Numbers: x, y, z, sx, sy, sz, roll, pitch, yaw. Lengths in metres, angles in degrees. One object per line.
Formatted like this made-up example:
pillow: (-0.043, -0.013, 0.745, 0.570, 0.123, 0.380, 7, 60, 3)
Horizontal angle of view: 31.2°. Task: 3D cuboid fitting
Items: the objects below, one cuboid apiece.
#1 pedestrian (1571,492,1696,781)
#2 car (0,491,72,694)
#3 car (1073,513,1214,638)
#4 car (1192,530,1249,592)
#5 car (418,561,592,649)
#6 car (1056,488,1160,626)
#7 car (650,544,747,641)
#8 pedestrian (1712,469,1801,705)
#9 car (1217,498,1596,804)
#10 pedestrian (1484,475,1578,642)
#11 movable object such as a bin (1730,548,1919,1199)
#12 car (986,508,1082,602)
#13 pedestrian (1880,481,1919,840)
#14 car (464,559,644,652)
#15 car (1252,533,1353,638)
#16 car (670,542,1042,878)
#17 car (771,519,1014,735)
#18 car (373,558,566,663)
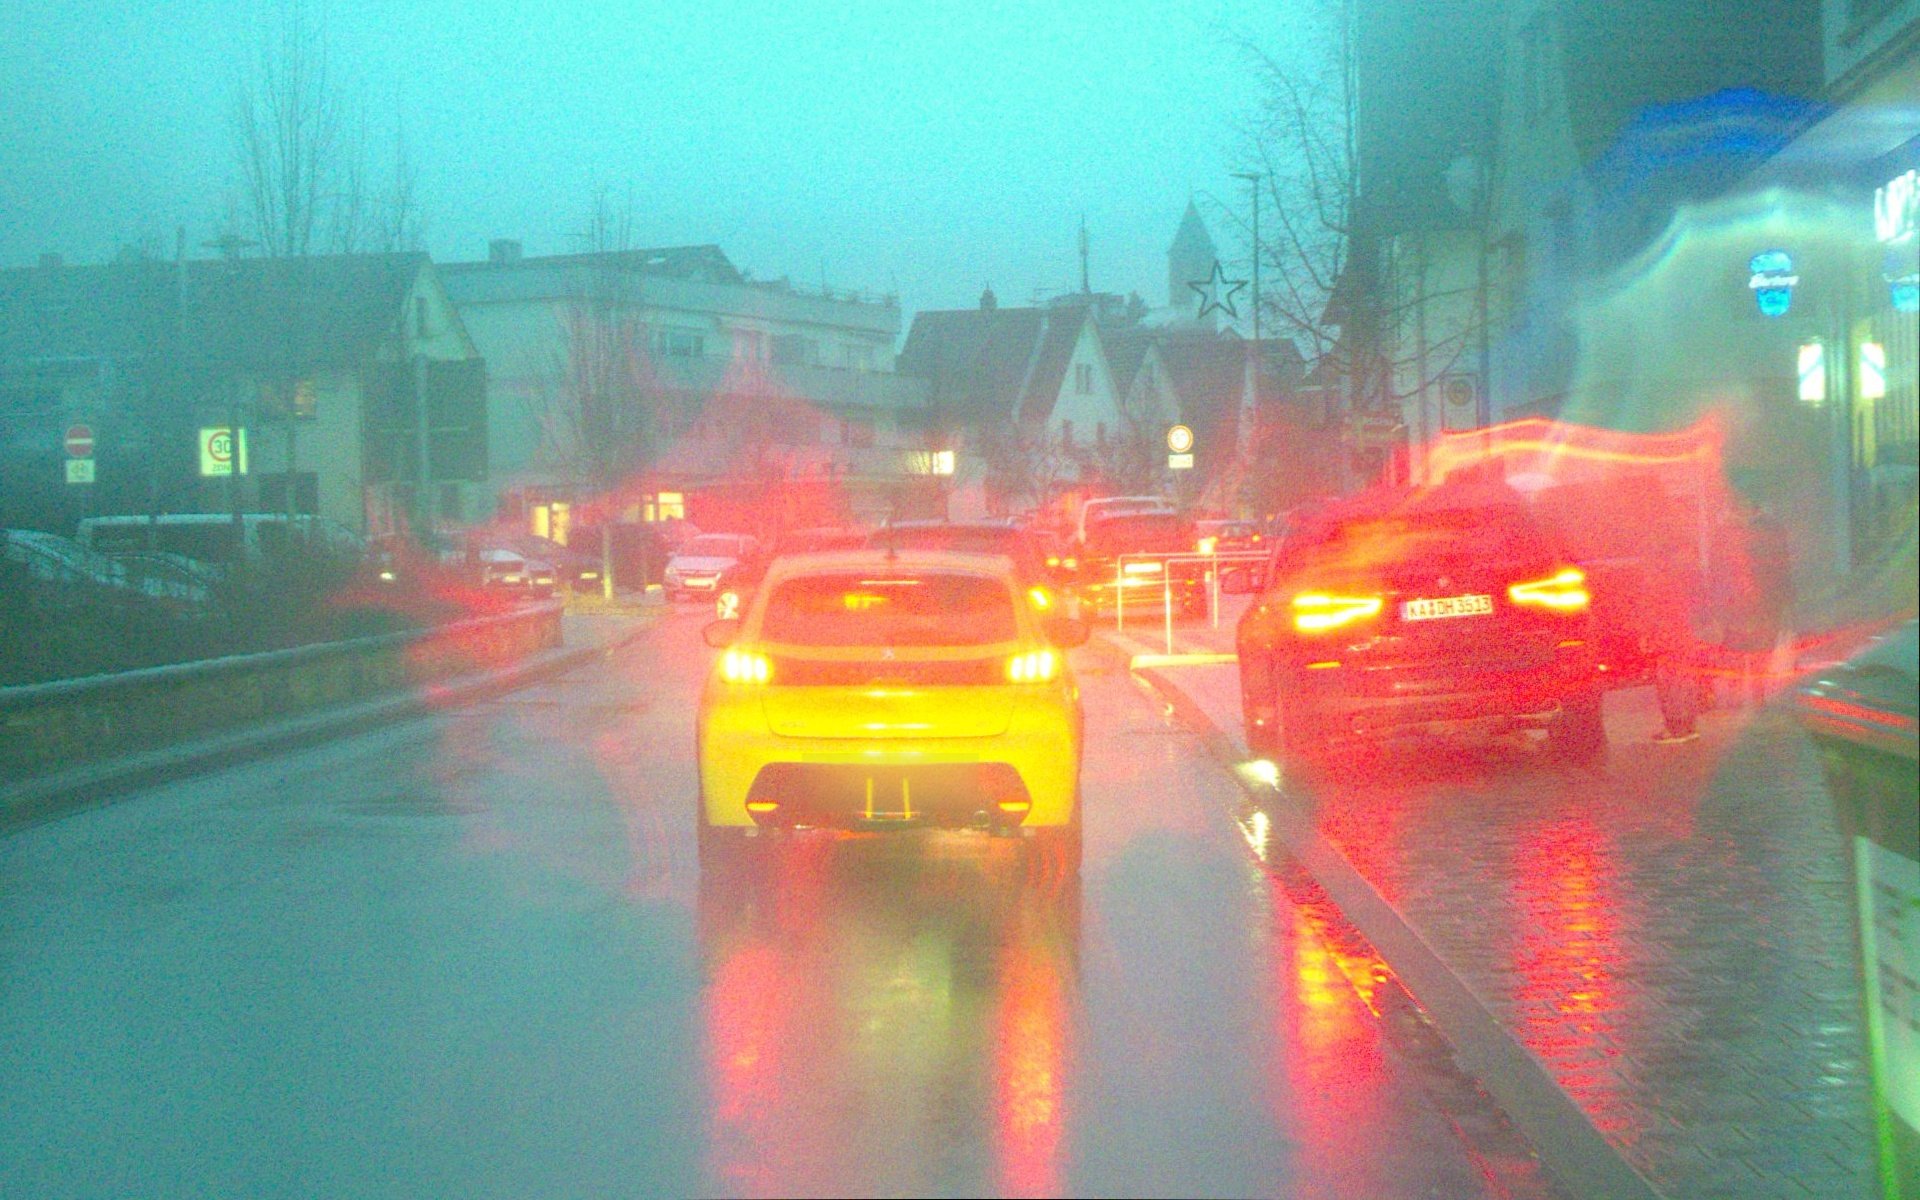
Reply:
pedestrian: (4.048, 0.214, 20.694, 0.573, 1.694, 0.653, -2, 0, 2)
car: (-10.068, -0.081, 29.075, 4.625, 1.662, 2.000, 0, 0, -2)
car: (2.803, -0.374, 53.292, 1.997, 1.858, 4.083, 0, 0, 1)
car: (7.338, -1.075, 97.033, 1.458, 1.616, 3.293, 1, -1, 2)
car: (-10.661, 0.132, 80.410, 4.166, 1.969, 1.818, 0, -2, 45)
car: (2.801, -0.774, 65.700, 1.870, 2.461, 4.443, 1, -1, 2)
car: (-5.770, -0.146, 76.240, 1.919, 2.021, 3.975, 1, -1, -2)
pedestrian: (5.869, -0.093, 25.344, 0.618, 1.721, 0.501, 1, -1, 12)
car: (2.653, 0.257, 21.354, 1.735, 1.686, 4.386, -1, 1, 0)
pedestrian: (5.271, -0.393, 31.738, 0.618, 1.510, 0.734, -1, 2, -13)
movable object such as a bin: (1.867, 0.627, 5.049, 1.129, 1.415, 1.417, -3, 2, 3)
car: (1.599, -0.964, 75.647, 1.993, 2.007, 4.000, 0, 0, -1)
pedestrian: (4.663, 0.275, 15.530, 0.618, 1.621, 0.907, -1, 2, -13)
car: (-9.851, 0.156, 83.248, 4.383, 2.159, 1.995, 0, -2, 45)
car: (7.739, -0.302, 78.010, 1.993, 2.241, 3.999, 1, -1, 2)
car: (-0.436, 0.443, 16.148, 1.563, 1.408, 3.018, 1, 1, 0)
car: (-0.491, 0.171, 28.167, 1.766, 1.623, 3.586, 1, 1, 2)
car: (-11.003, 0.243, 76.995, 4.383, 2.244, 1.995, 0, -2, 45)
